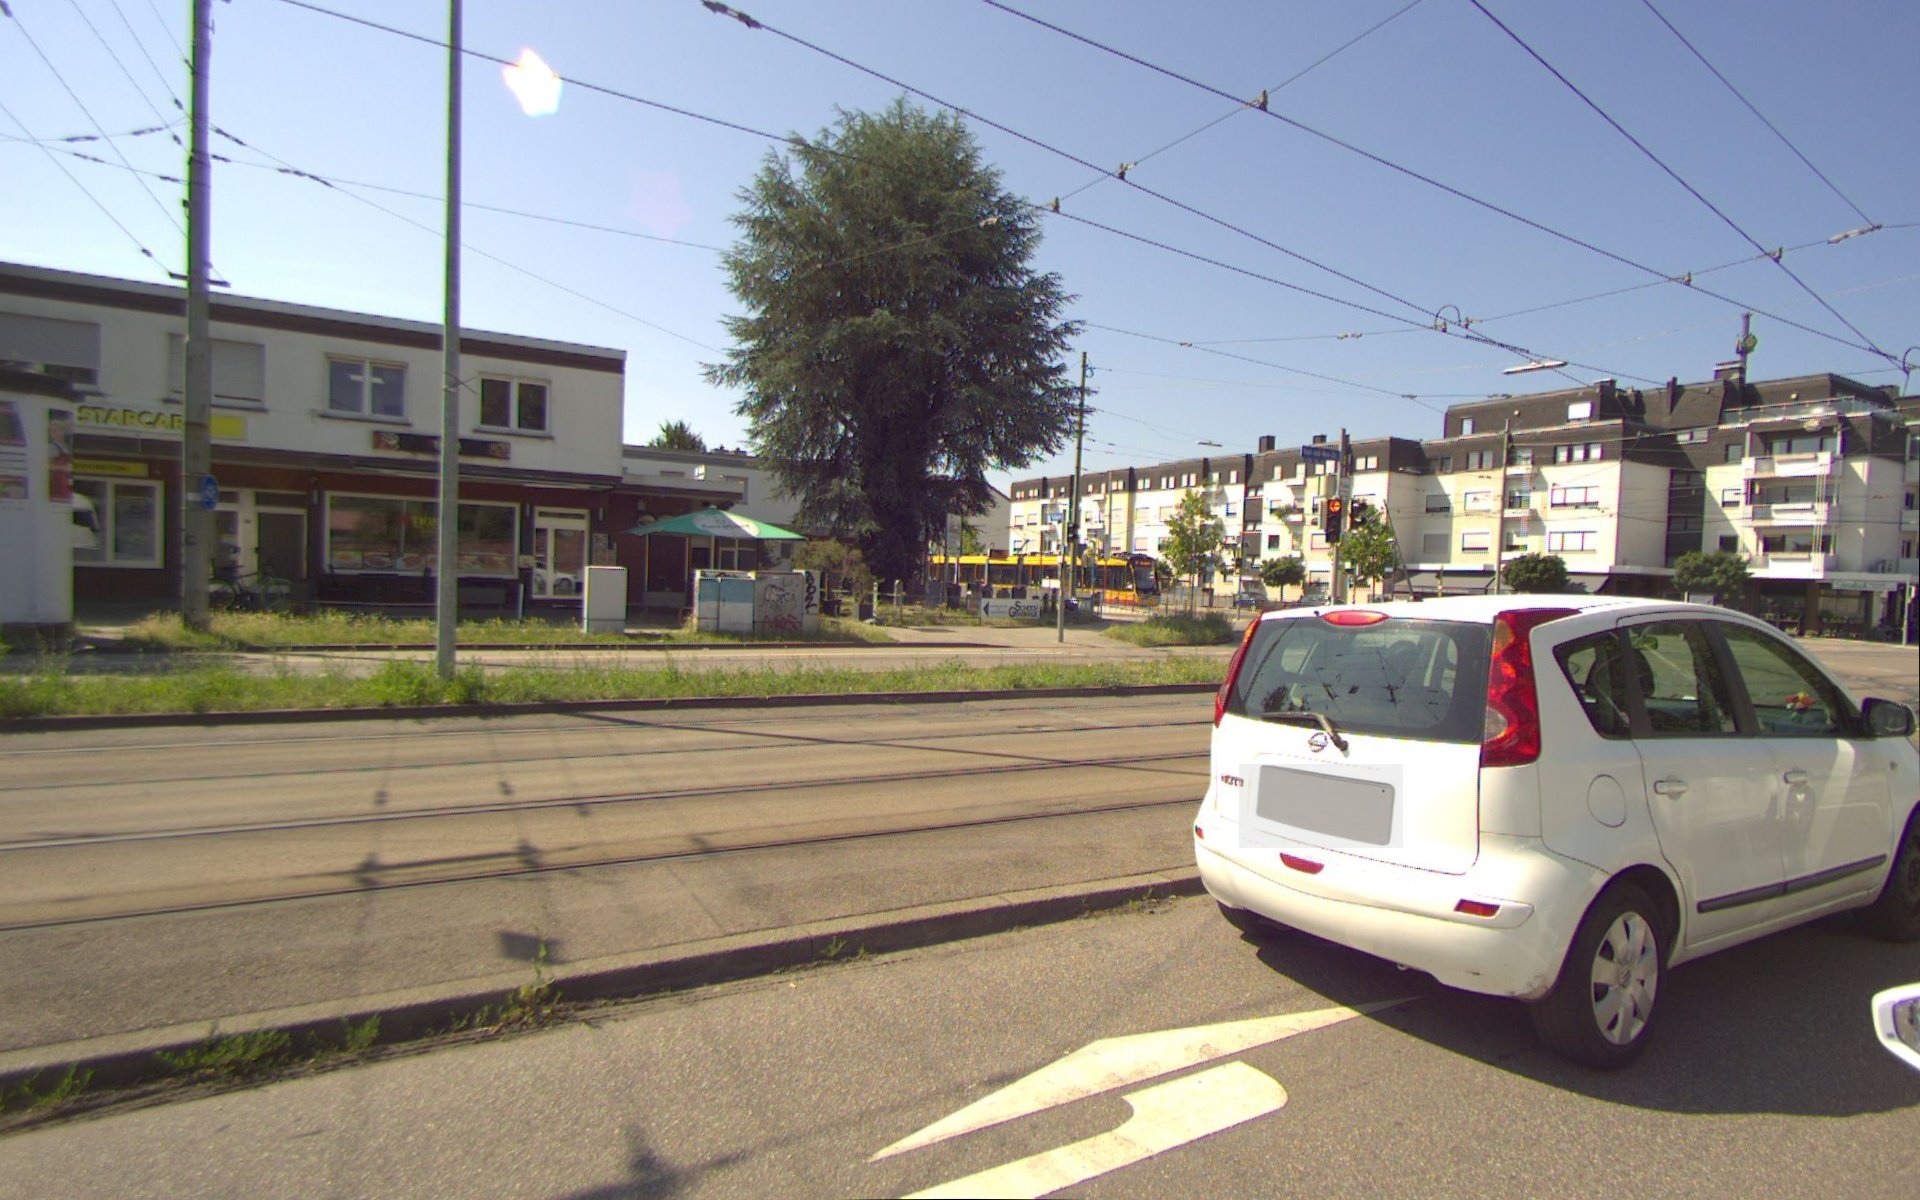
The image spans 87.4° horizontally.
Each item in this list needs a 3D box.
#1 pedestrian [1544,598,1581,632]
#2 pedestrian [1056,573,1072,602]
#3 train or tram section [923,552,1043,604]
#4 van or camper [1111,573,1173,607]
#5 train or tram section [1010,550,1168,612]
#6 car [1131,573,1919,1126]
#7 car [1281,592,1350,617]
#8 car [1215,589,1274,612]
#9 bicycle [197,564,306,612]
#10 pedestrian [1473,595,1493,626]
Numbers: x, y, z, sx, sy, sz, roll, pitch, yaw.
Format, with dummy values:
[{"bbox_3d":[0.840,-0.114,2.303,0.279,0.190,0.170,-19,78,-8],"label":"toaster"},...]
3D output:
[{"bbox_3d":[34.241,0.865,57.115,1.410,1.861,1.123,2,1,10],"label":"pedestrian"},{"bbox_3d":[6.815,-0.805,65.917,0.879,1.862,1.202,2,1,3],"label":"pedestrian"},{"bbox_3d":[1.519,-1.826,79.878,2.736,3.707,13.795,1,1,-30],"label":"train or tram section"},{"bbox_3d":[14.961,-0.857,82.855,2.349,2.660,4.850,1,1,-31],"label":"van or camper"},{"bbox_3d":[8.327,-1.377,67.914,2.736,3.707,13.795,1,1,-30],"label":"train or tram section"},{"bbox_3d":[2.931,0.749,4.660,4.019,1.582,1.757,1,0,-30],"label":"car"},{"bbox_3d":[23.908,0.299,67.625,1.807,1.520,4.151,1,1,-30],"label":"car"},{"bbox_3d":[20.636,0.032,72.947,1.807,1.520,3.967,1,1,-30],"label":"car"},{"bbox_3d":[-15.670,-0.258,22.270,1.889,0.996,0.754,1,1,-30],"label":"bicycle"},{"bbox_3d":[30.415,0.618,58.406,0.795,1.783,0.764,2,1,13],"label":"pedestrian"}]
